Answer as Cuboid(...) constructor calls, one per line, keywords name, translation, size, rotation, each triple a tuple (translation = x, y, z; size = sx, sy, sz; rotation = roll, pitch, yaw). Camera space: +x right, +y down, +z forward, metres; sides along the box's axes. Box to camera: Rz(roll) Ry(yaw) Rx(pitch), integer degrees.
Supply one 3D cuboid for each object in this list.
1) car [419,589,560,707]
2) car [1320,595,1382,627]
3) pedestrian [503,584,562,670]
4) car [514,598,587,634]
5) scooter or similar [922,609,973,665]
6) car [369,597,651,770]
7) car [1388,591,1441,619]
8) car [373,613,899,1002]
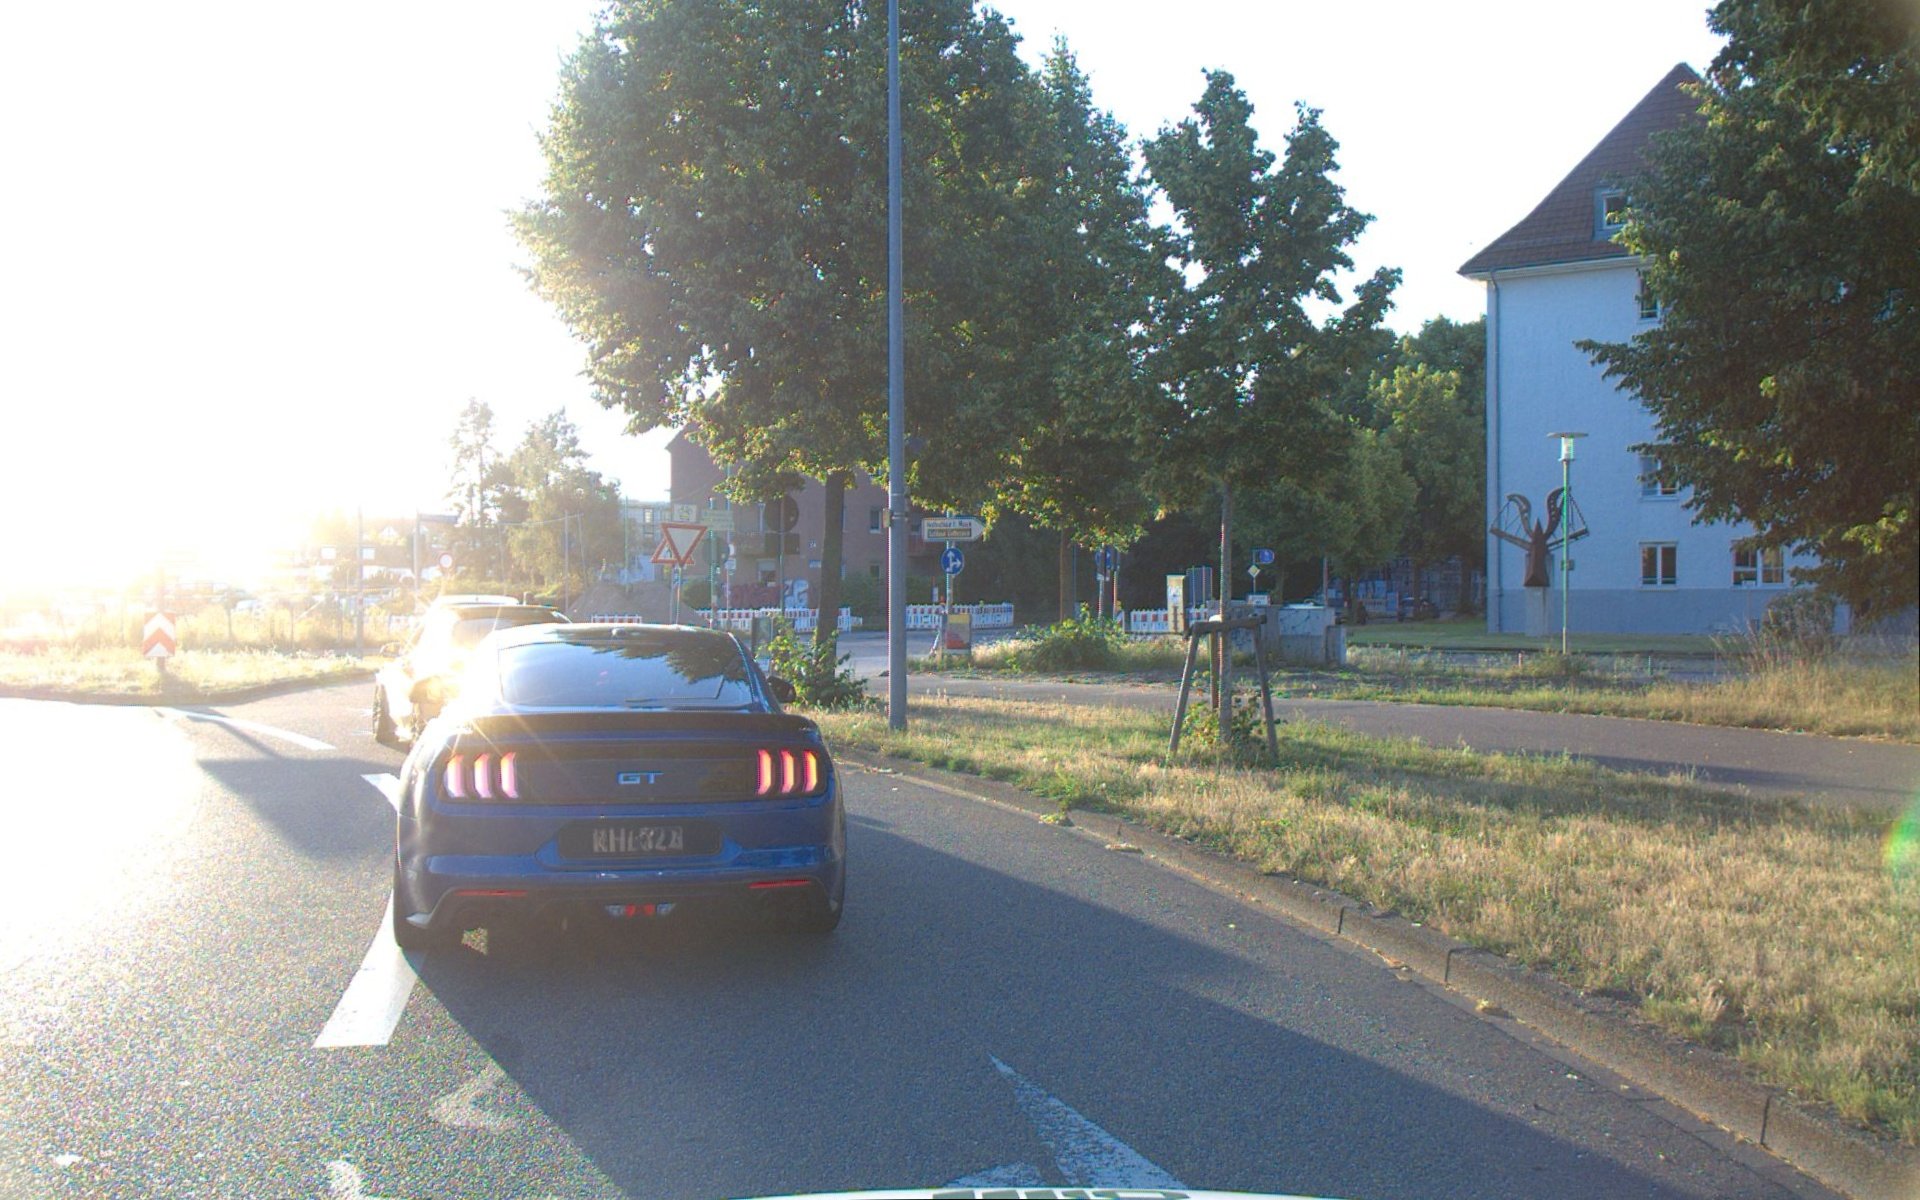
Cuboid(name="car", translation=(-7.474, 0.773, 26.625), size=(1.918, 1.630, 4.062), rotation=(4, -2, -14))
Cuboid(name="car", translation=(20.524, 0.566, 86.725), size=(1.916, 1.630, 4.067), rotation=(1, 0, 32))
Cuboid(name="pedestrian", translation=(-8.691, 0.533, 33.630), size=(0.872, 1.716, 0.840), rotation=(0, 0, 45))
Cuboid(name="car", translation=(-20.338, 0.783, 82.063), size=(1.982, 1.736, 3.940), rotation=(0, 0, -41))
Cuboid(name="scooter or similar", translation=(-0.280, 0.847, 38.286), size=(1.103, 1.260, 0.440), rotation=(0, 0, -20))
Cuboid(name="car", translation=(-4.584, 0.751, 16.359), size=(1.927, 1.452, 4.393), rotation=(2, -1, -26))
Cuboid(name="car", translation=(26.948, 0.284, 97.948), size=(1.916, 1.630, 4.067), rotation=(1, 0, 32))
Cuboid(name="car", translation=(-1.742, 0.770, 8.431), size=(1.918, 1.365, 4.652), rotation=(1, 0, -14))
